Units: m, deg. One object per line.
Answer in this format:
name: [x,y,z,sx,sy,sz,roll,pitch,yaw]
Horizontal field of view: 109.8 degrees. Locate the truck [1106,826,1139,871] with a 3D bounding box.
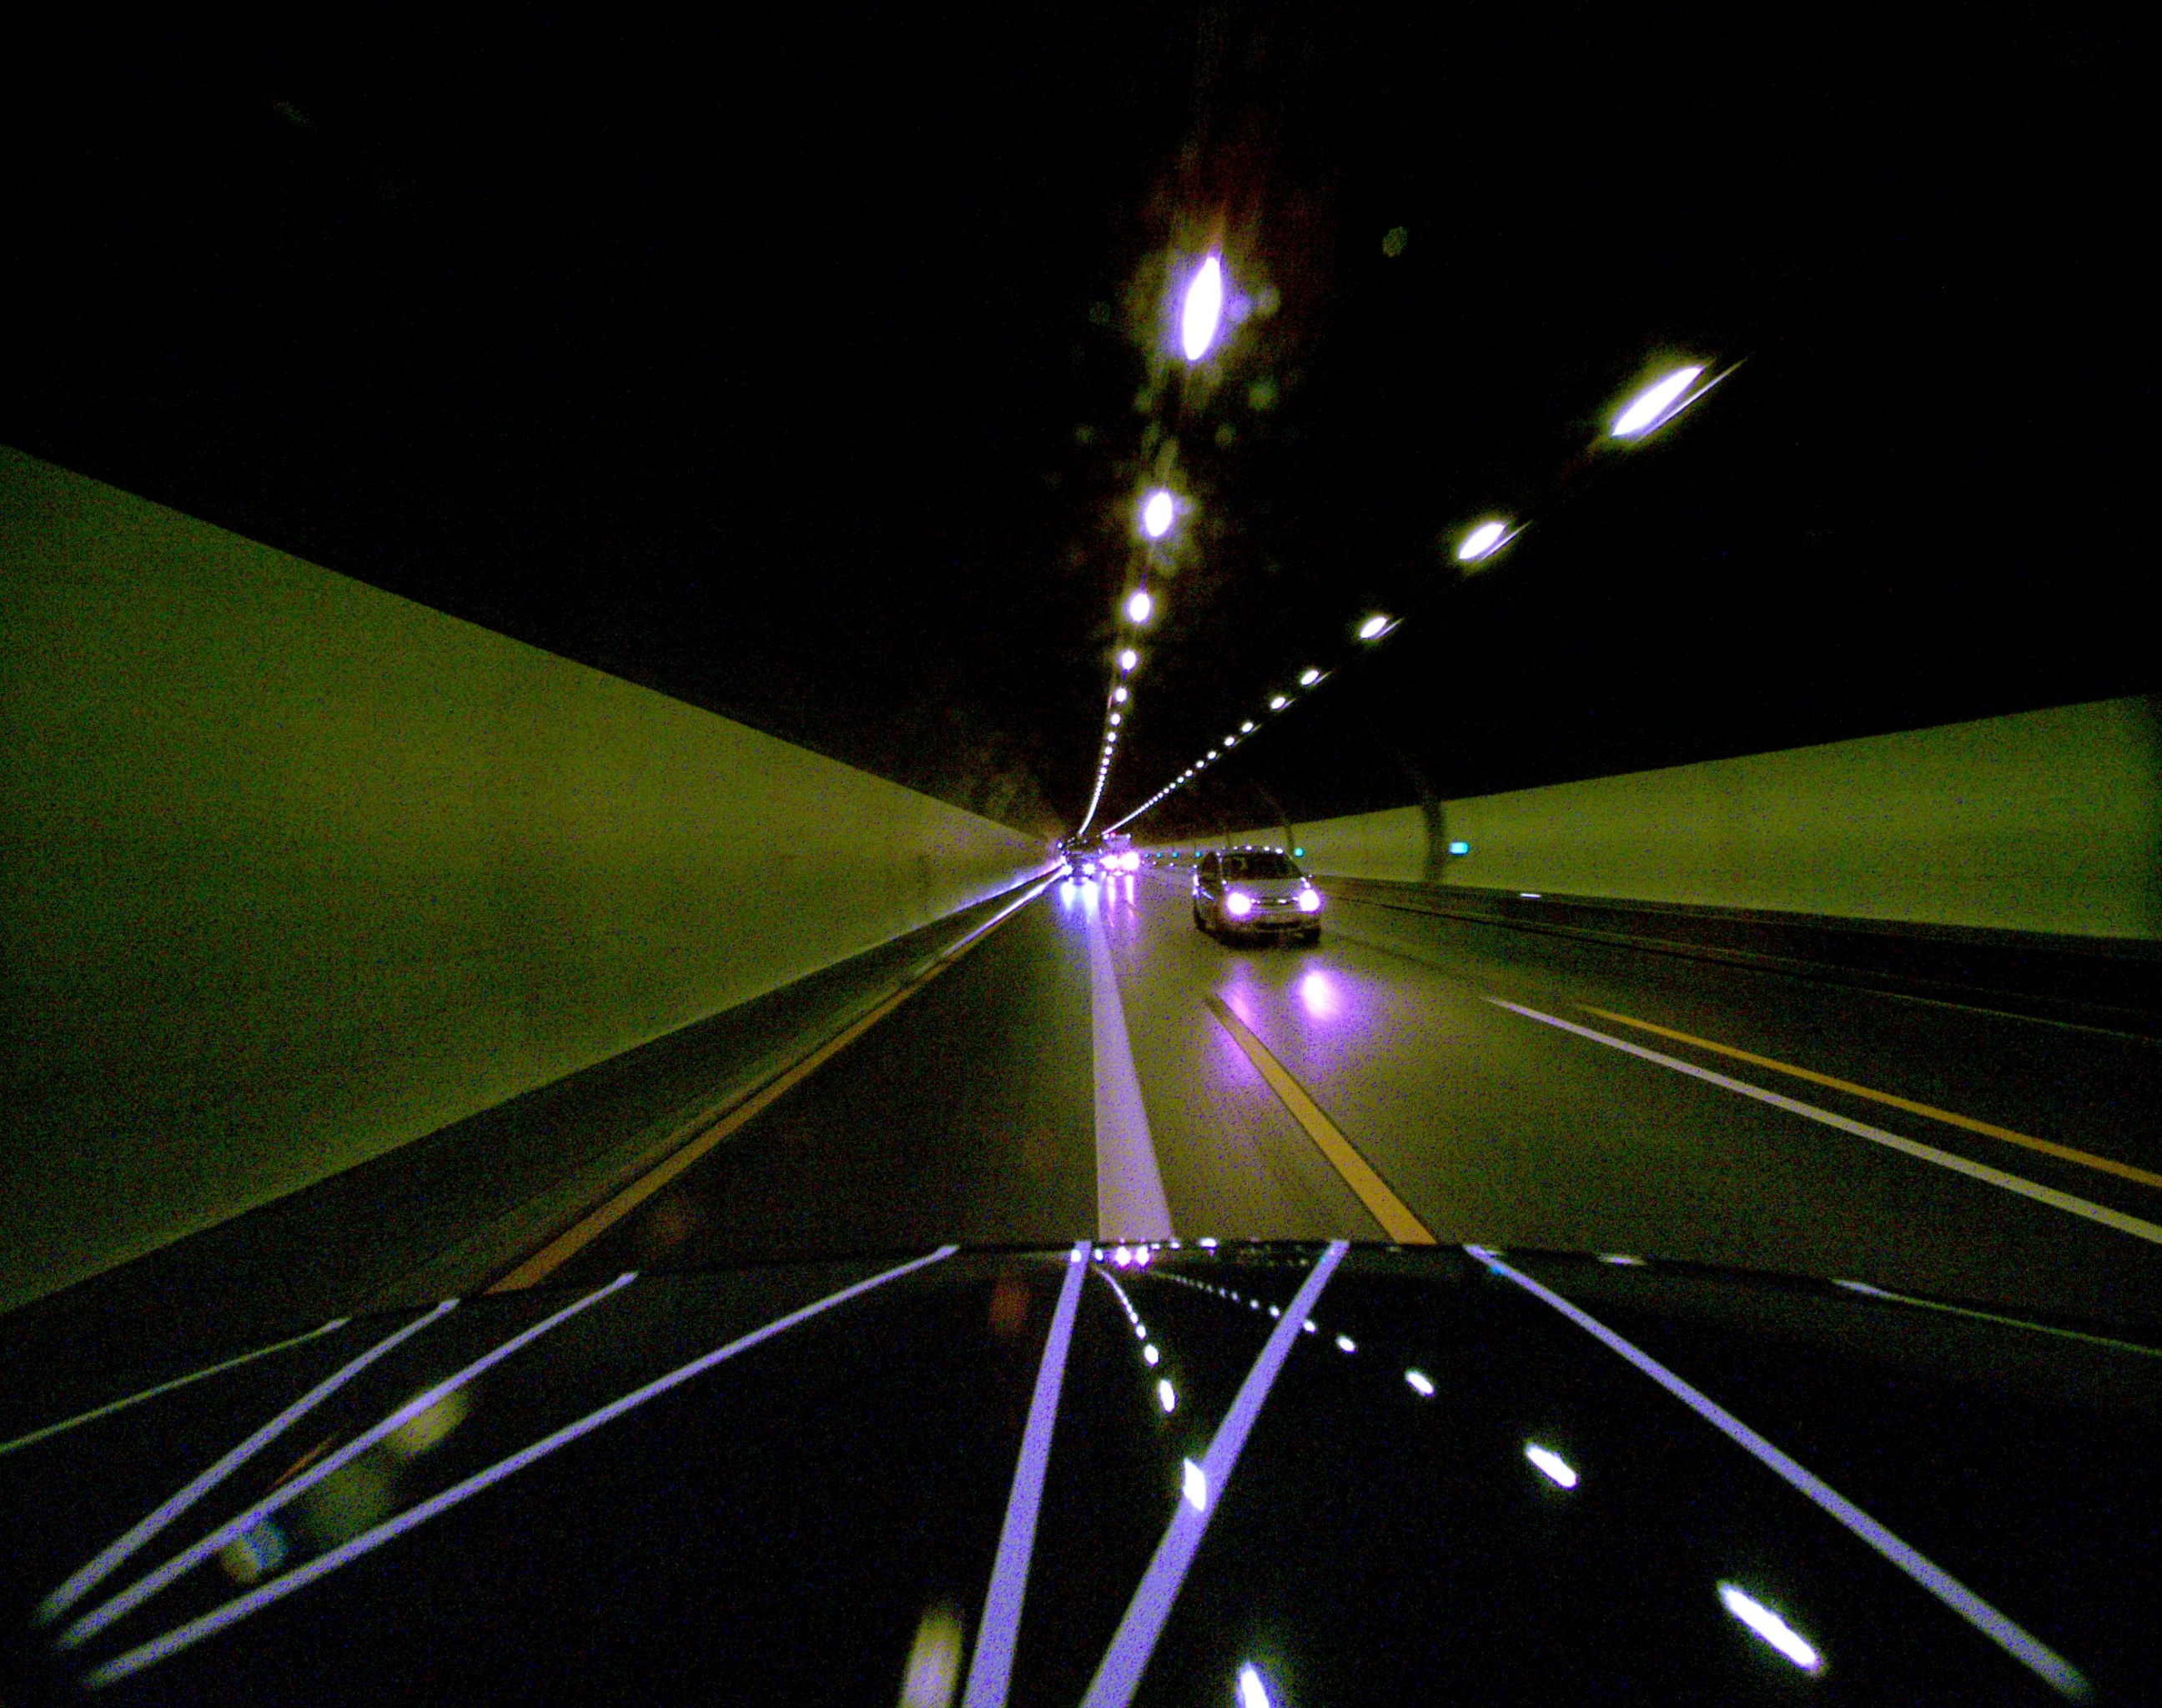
truck: [3.290,-0.415,61.453,2.374,3.328,4.719,-4,0,2]

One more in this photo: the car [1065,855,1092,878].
car: [-0.133,0.809,51.511,1.728,1.474,4.000,-2,0,0]

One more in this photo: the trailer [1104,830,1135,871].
trailer: [3.317,-0.281,68.098,2.374,3.328,12.079,0,0,1]

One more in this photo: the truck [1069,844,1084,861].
truck: [-0.873,-0.173,129.793,2.151,2.608,9.906,-2,-1,-2]

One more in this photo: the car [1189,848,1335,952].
car: [3.101,0.702,13.827,1.766,1.563,4.097,-2,1,2]
